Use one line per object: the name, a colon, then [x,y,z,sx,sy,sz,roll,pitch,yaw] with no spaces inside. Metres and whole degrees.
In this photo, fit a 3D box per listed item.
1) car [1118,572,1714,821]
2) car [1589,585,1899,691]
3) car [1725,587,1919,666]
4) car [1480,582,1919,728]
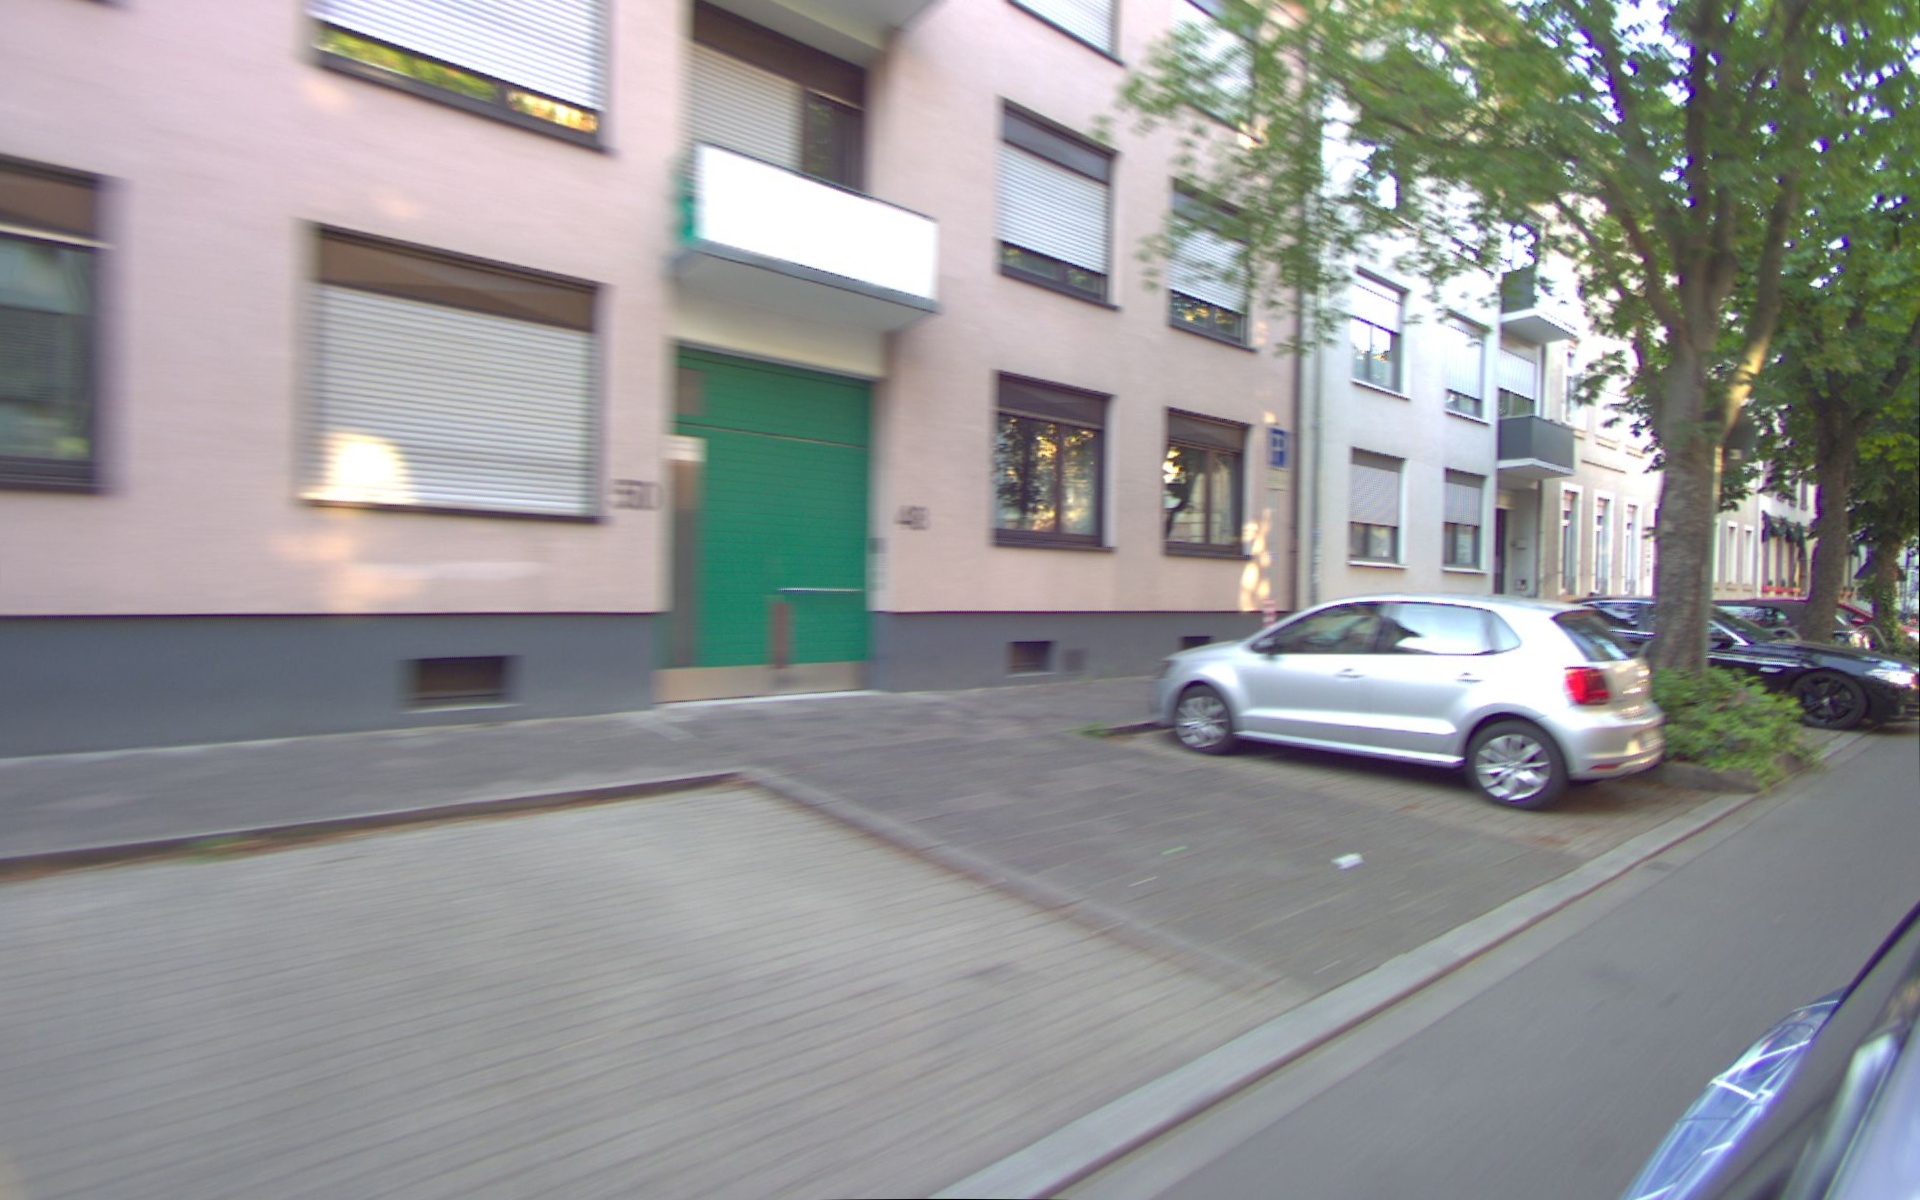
car: [3.466,0.543,8.266,1.768,1.509,4.086,0,1,-43]
car: [12.824,0.526,16.711,1.685,1.428,3.838,0,2,-45]
car: [19.312,0.520,22.254,1.725,1.572,3.726,0,1,-43]
car: [9.665,0.560,13.068,1.953,1.516,4.884,0,1,-40]
